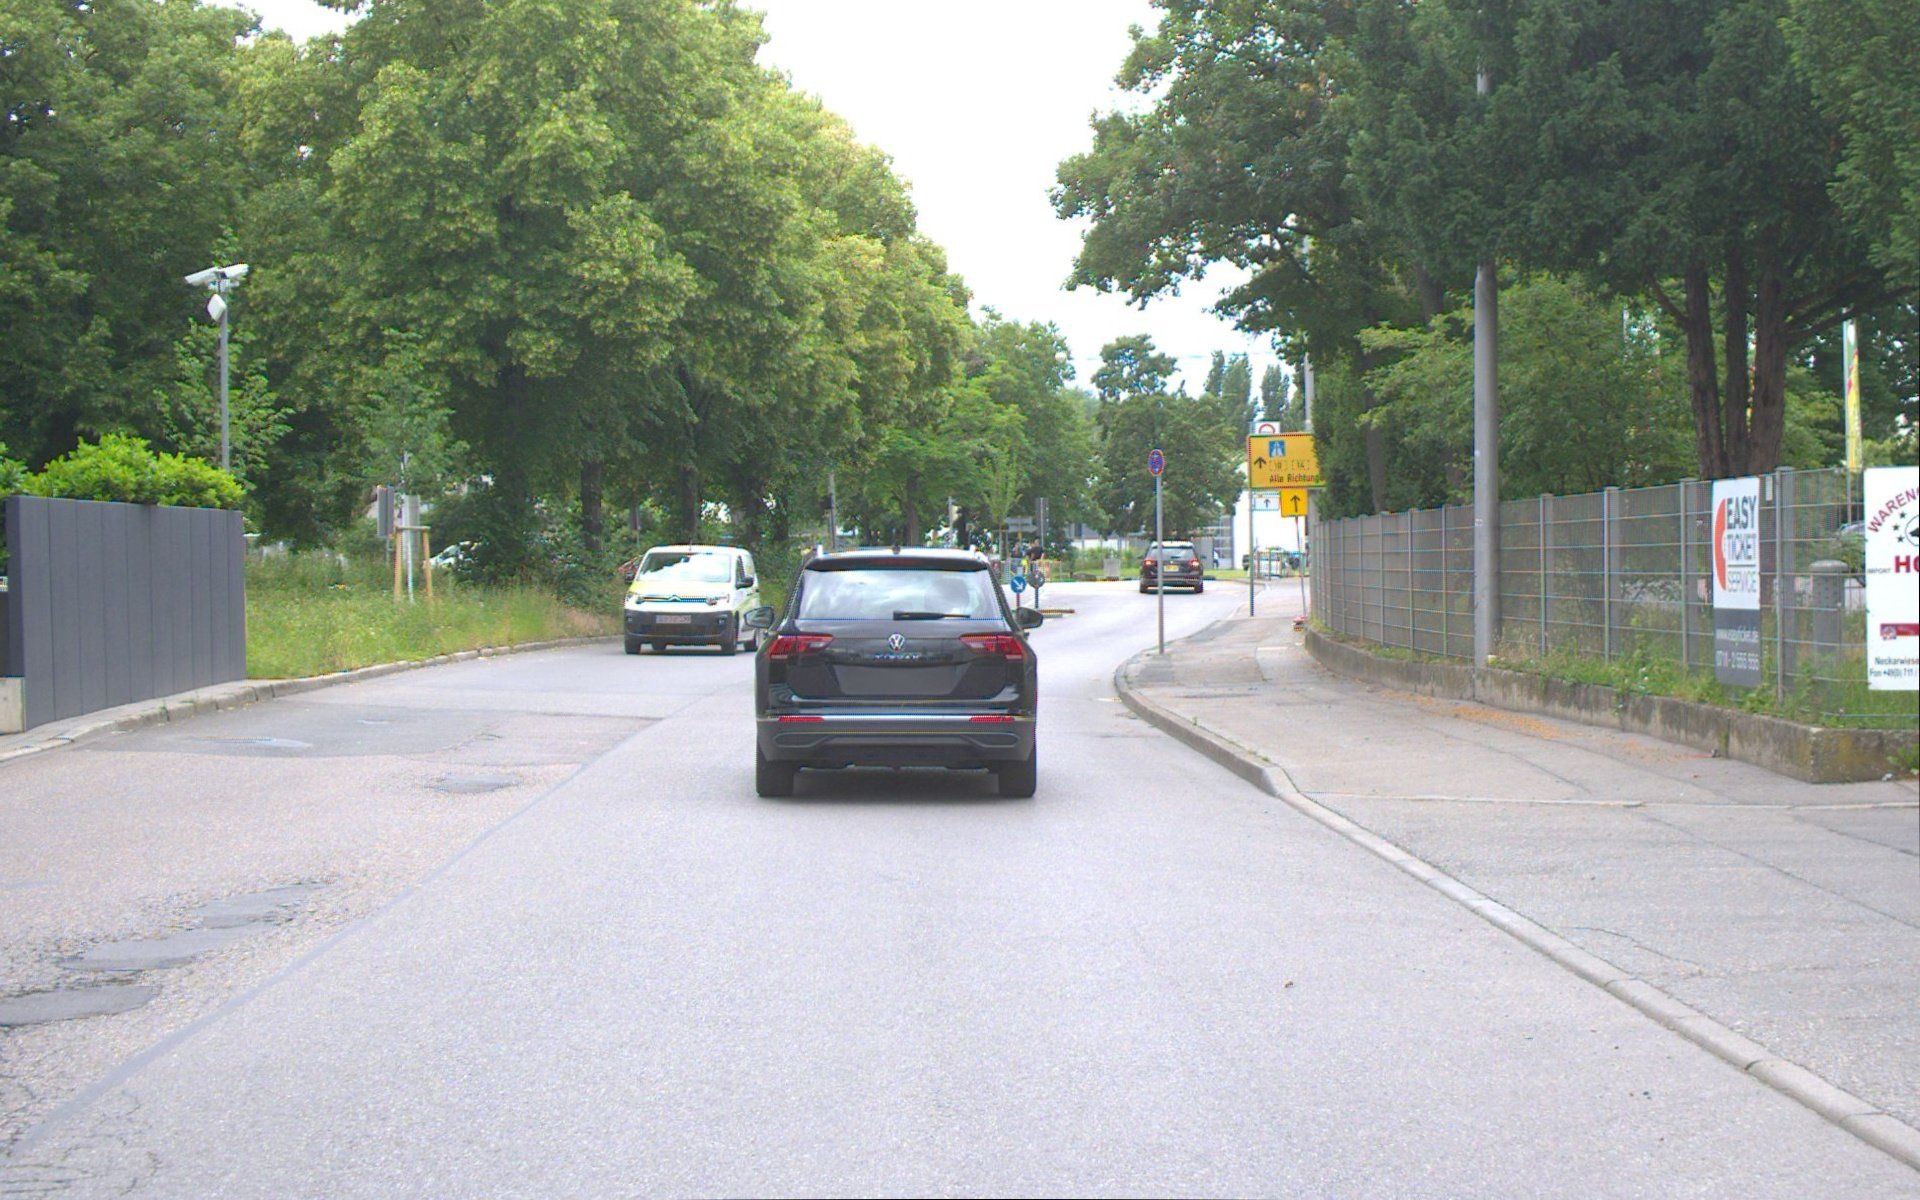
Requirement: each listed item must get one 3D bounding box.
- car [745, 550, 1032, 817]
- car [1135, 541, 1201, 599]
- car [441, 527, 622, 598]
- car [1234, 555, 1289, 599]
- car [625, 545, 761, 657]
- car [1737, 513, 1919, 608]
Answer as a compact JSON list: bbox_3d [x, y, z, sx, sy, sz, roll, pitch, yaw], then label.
[{"bbox_3d":[-0.402,0.512,22.970,1.739,1.612,3.641,1,0,1],"label":"car"},{"bbox_3d":[5.939,-0.858,98.384,1.659,1.569,3.828,-2,1,1],"label":"car"},{"bbox_3d":[-15.210,-1.346,122.287,6.070,2.379,2.395,-1,1,2],"label":"car"},{"bbox_3d":[12.503,-0.967,142.560,1.994,1.780,3.999,0,1,9],"label":"car"},{"bbox_3d":[-4.315,-0.011,56.137,1.808,1.758,4.205,0,1,1],"label":"car"},{"bbox_3d":[15.544,-0.679,57.418,1.994,1.469,4.691,-2,0,-42],"label":"car"}]
